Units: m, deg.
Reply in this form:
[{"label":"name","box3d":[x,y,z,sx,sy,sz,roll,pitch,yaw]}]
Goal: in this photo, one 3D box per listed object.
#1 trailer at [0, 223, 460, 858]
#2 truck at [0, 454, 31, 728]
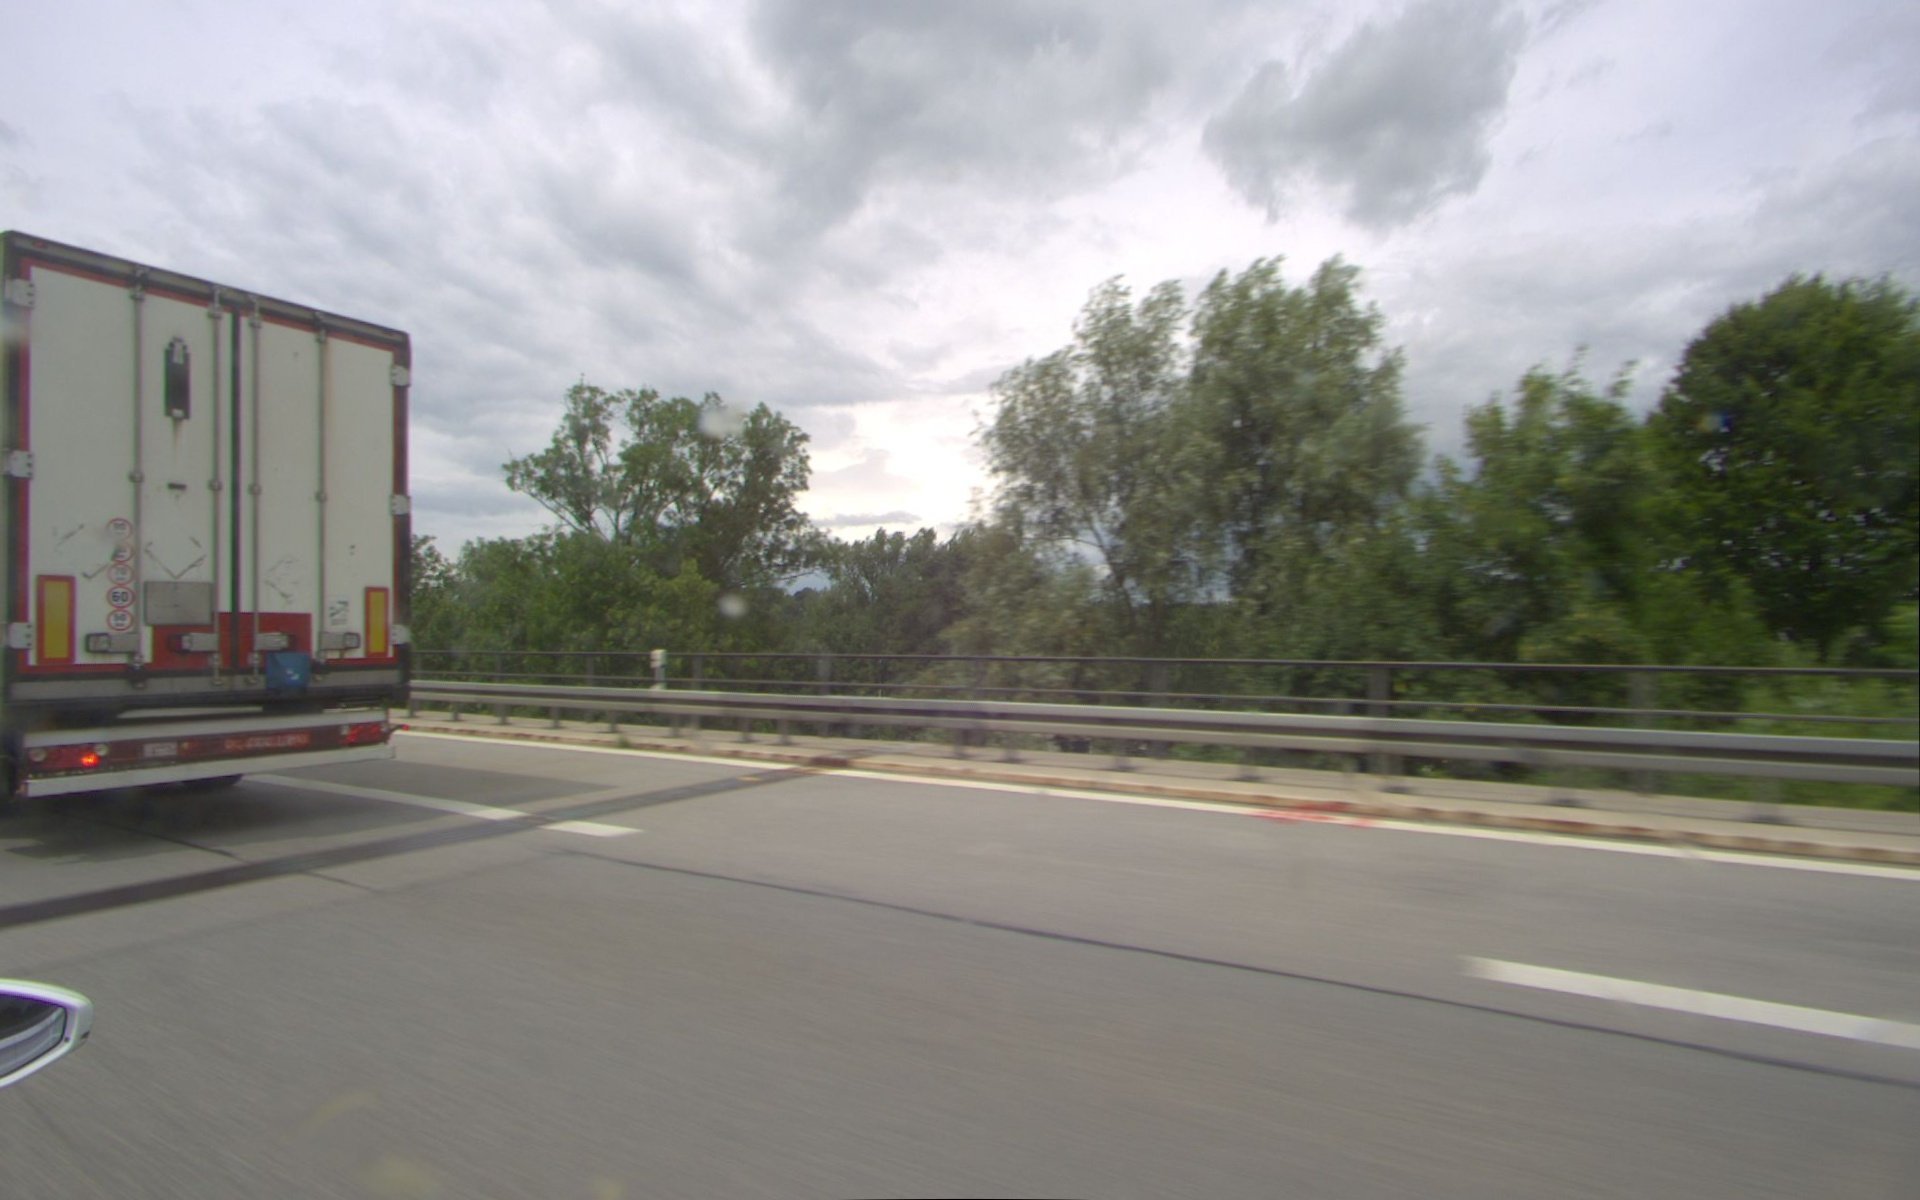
[{"label":"trailer","box3d":[-10.929,-0.232,11.111,13.593,3.940,3.057,-1,-2,33]},{"label":"truck","box3d":[-16.936,-0.133,14.953,5.914,3.941,3.057,-1,-2,32]}]
